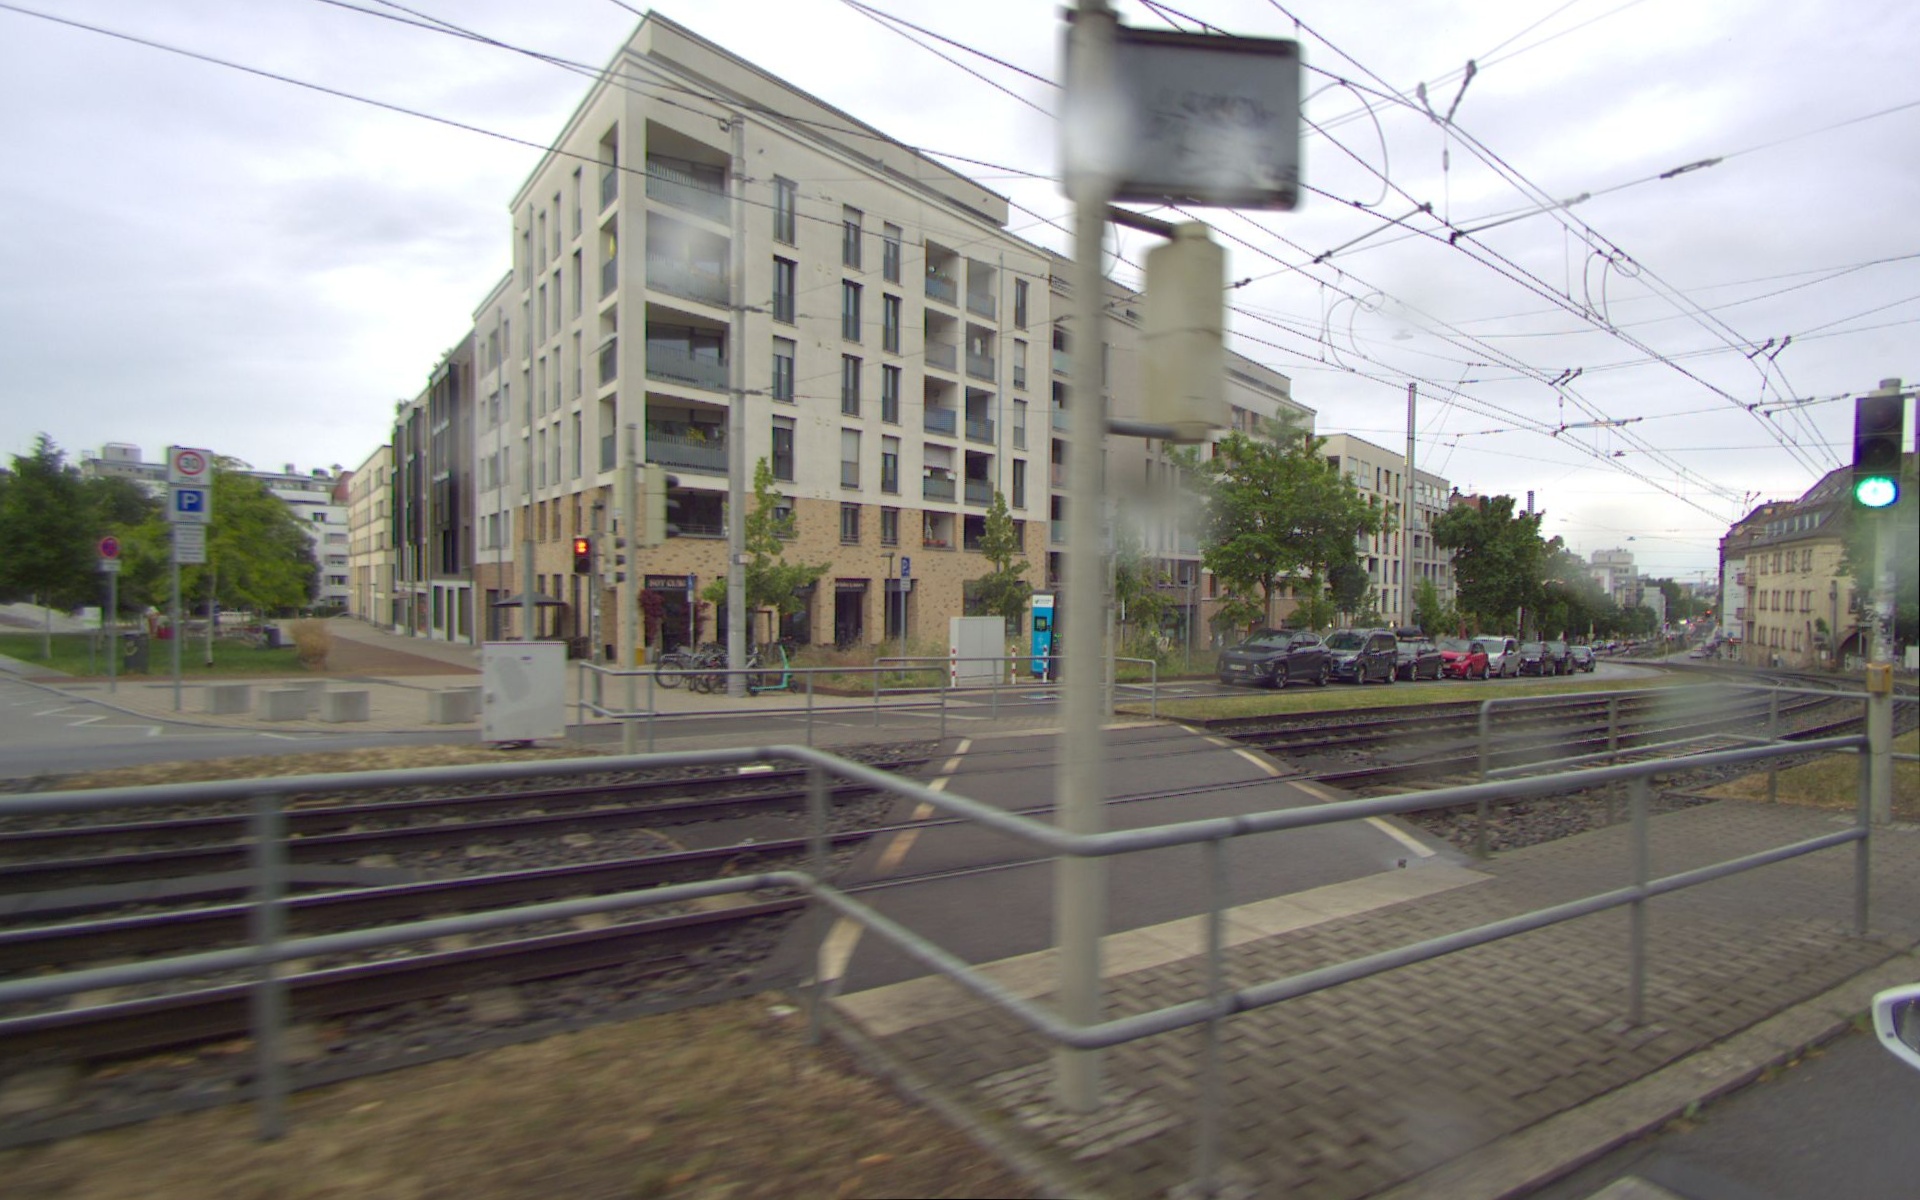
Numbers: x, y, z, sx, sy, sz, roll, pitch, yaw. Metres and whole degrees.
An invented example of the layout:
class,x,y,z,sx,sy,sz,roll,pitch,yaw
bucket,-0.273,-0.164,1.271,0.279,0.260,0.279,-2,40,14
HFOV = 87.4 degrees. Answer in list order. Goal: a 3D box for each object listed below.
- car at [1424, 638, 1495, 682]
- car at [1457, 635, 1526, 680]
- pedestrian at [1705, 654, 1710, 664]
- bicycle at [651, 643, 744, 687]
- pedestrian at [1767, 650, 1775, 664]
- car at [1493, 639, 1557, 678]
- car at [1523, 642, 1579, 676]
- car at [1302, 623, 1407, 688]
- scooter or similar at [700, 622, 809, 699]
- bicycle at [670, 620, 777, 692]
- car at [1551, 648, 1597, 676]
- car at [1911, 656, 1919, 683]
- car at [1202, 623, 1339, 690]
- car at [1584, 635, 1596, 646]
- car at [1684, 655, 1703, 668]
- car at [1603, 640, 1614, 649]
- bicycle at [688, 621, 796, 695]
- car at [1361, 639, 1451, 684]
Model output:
class,x,y,z,sx,sy,sz,roll,pitch,yaw
car,19.573,2.339,39.355,2.909,1.551,1.456,3,0,-42
car,22.876,2.463,43.129,1.644,1.770,4.235,1,-2,42
pedestrian,95.841,7.566,128.807,0.502,1.333,0.505,1,-1,30
bicycle,-6.561,1.616,25.179,2.208,1.061,0.471,2,-2,-36
pedestrian,80.555,5.673,99.815,0.497,1.333,0.510,1,-1,28
car,26.545,2.726,47.124,1.712,1.666,4.509,2,-1,41
car,30.253,3.012,51.371,1.781,1.604,4.679,2,-2,39
car,12.875,1.797,32.649,1.565,1.884,4.307,3,0,44
scooter or similar,-4.554,1.339,22.396,2.341,1.617,0.594,3,-2,-39
bicycle,-5.532,1.312,23.608,2.341,1.617,0.670,3,-2,-39
car,36.640,3.683,59.931,1.940,1.450,4.185,2,-2,37
car,56.431,4.045,57.781,1.641,1.544,4.101,0,-3,31
car,8.969,1.610,28.814,1.973,1.626,4.189,5,1,45
car,121.058,7.793,192.918,1.966,2.040,3.990,1,-2,33
car,105.252,8.773,144.132,1.969,1.795,3.984,1,-2,38
car,136.680,9.388,211.681,1.966,1.684,3.990,1,-2,33
bicycle,-4.948,1.315,22.928,2.341,1.617,0.670,3,-2,-39
car,16.250,2.211,36.526,1.534,1.466,4.373,2,-1,44
